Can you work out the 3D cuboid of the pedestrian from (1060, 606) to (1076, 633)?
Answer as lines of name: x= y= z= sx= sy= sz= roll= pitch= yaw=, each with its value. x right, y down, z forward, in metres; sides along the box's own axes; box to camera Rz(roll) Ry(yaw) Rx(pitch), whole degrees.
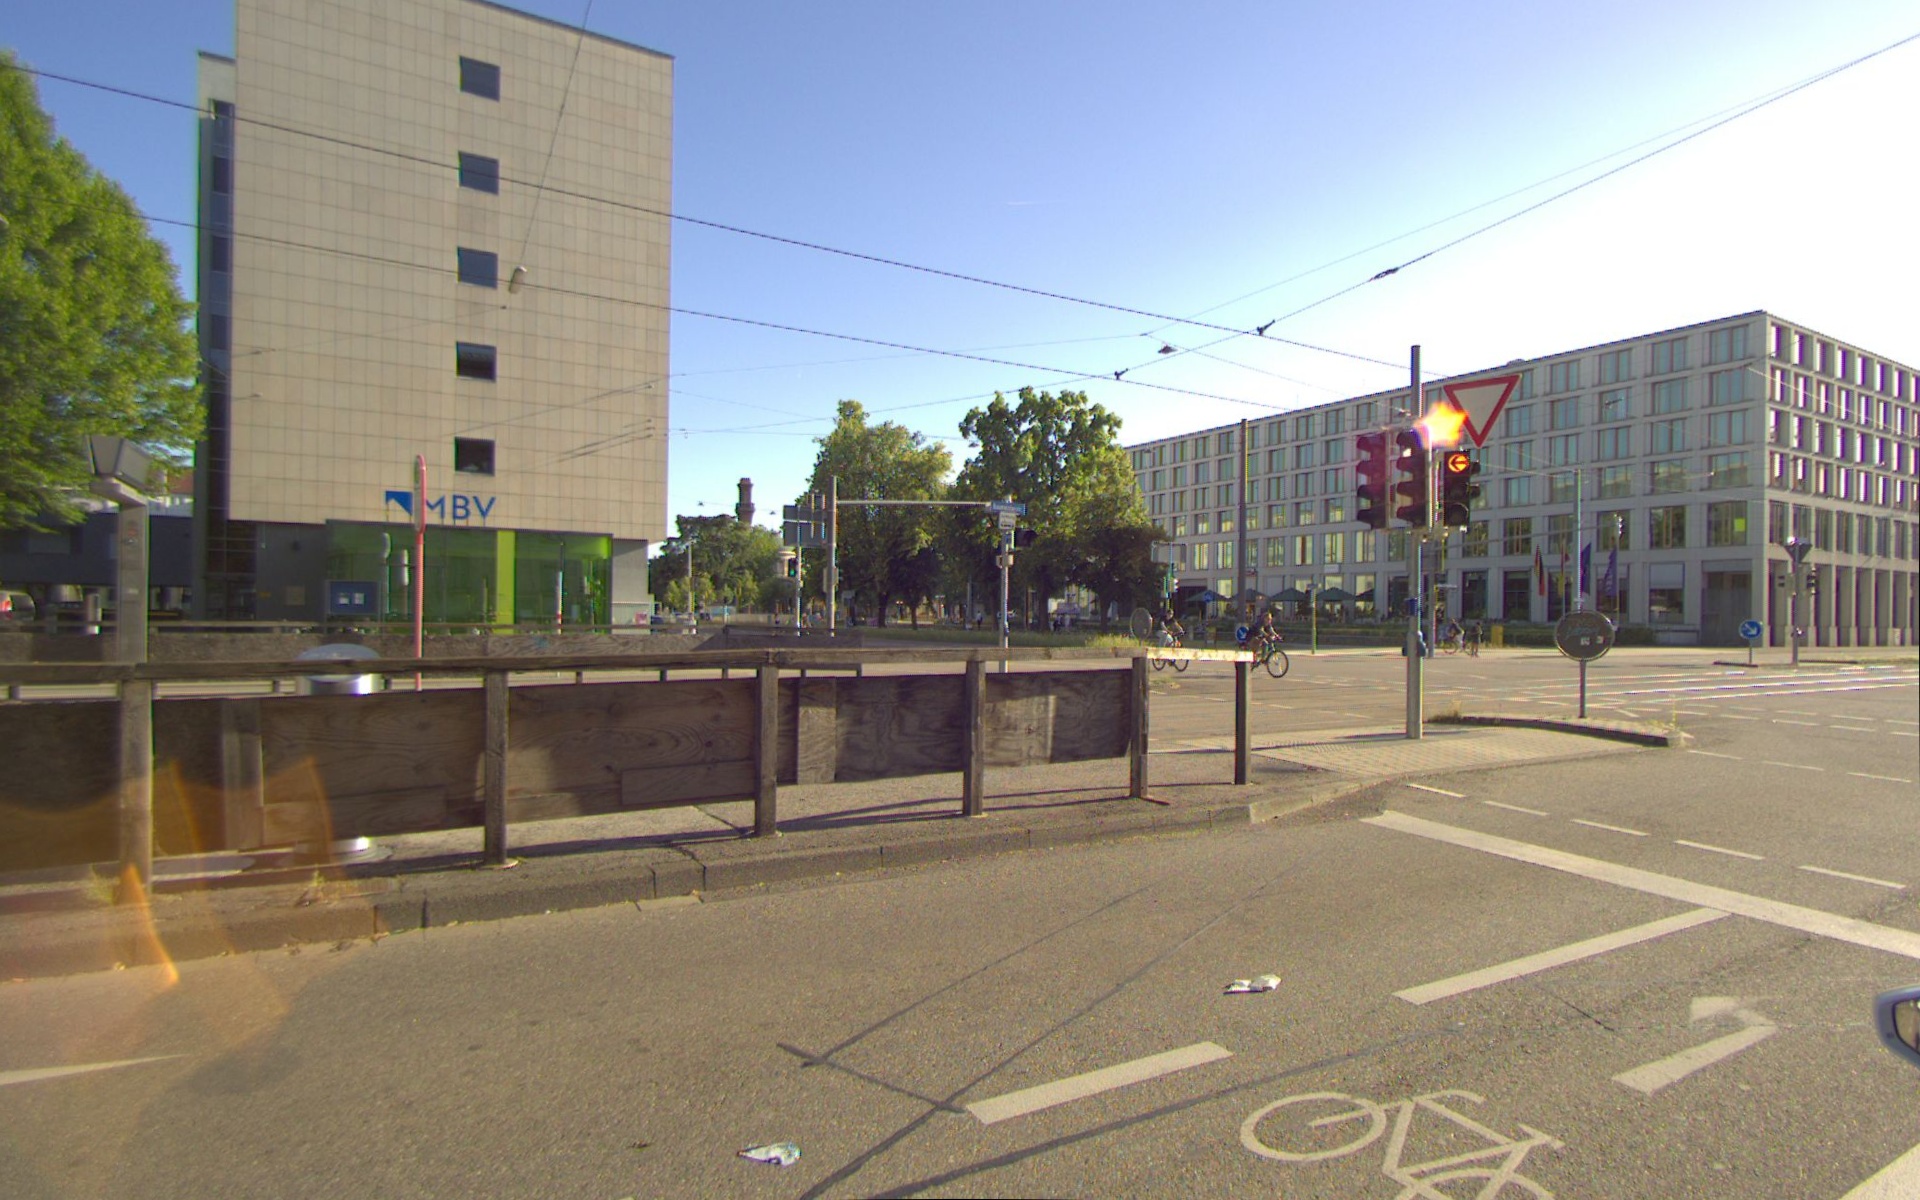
pedestrian: x=8.246 y=1.520 z=76.923 sx=0.815 sy=2.040 sz=0.838 roll=2 pitch=0 yaw=-31

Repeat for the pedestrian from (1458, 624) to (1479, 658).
pedestrian: x=24.845 y=1.994 z=49.087 sx=0.586 sy=1.610 sz=0.768 roll=1 pitch=-1 yaw=-41

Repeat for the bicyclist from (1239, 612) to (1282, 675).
bicyclist: x=7.248 y=1.038 z=24.242 sx=0.610 sy=1.470 sz=0.794 roll=1 pitch=-1 yaw=-32

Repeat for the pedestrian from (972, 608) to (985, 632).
pedestrian: x=1.578 y=1.746 z=86.764 sx=0.813 sy=2.040 sz=0.840 roll=2 pitch=0 yaw=-25

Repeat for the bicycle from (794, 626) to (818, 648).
bicycle: x=-8.344 y=1.981 z=54.435 sx=0.616 sy=1.148 sz=1.869 roll=1 pitch=-1 yaw=-31

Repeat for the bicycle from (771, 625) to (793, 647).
bicycle: x=-9.567 y=1.942 z=53.953 sx=0.574 sy=1.148 sz=1.776 roll=1 pitch=-1 yaw=-31

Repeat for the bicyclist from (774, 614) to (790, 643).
bicyclist: x=-9.573 y=1.547 z=53.959 sx=0.647 sy=1.544 sz=0.615 roll=1 pitch=-1 yaw=-32

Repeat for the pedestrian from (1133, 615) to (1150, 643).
pedestrian: x=12.516 y=2.004 z=69.119 sx=0.861 sy=1.925 sz=0.715 roll=2 pitch=0 yaw=-20

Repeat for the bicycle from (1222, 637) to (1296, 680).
bicycle: x=7.212 y=1.397 z=24.315 sx=0.638 sy=0.947 sz=1.734 roll=1 pitch=-1 yaw=-31

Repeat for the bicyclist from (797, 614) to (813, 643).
bicyclist: x=-8.396 y=1.548 z=54.517 sx=0.602 sy=1.544 sz=0.709 roll=1 pitch=-1 yaw=-32

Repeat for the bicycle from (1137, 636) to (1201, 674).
bicycle: x=5.669 y=1.484 z=27.313 sx=0.554 sy=0.947 sz=1.846 roll=1 pitch=-1 yaw=-34

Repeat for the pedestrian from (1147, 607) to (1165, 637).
pedestrian: x=13.589 y=1.527 z=69.686 sx=0.812 sy=2.040 sz=0.841 roll=2 pitch=0 yaw=-20

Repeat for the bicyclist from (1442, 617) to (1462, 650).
bicyclist: x=24.938 y=1.697 z=50.918 sx=0.765 sy=1.610 sz=0.759 roll=0 pitch=-1 yaw=36

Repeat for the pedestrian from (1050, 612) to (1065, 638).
pedestrian: x=7.409 y=1.887 z=76.541 sx=0.865 sy=1.925 sz=0.712 roll=2 pitch=0 yaw=-32

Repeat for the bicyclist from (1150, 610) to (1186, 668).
bicyclist: x=5.654 y=1.061 z=27.361 sx=0.600 sy=1.544 sz=0.758 roll=1 pitch=-1 yaw=-34

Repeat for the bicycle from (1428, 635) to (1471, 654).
bicycle: x=24.836 y=2.246 z=50.978 sx=1.833 sy=0.947 sz=0.760 roll=0 pitch=-1 yaw=37
